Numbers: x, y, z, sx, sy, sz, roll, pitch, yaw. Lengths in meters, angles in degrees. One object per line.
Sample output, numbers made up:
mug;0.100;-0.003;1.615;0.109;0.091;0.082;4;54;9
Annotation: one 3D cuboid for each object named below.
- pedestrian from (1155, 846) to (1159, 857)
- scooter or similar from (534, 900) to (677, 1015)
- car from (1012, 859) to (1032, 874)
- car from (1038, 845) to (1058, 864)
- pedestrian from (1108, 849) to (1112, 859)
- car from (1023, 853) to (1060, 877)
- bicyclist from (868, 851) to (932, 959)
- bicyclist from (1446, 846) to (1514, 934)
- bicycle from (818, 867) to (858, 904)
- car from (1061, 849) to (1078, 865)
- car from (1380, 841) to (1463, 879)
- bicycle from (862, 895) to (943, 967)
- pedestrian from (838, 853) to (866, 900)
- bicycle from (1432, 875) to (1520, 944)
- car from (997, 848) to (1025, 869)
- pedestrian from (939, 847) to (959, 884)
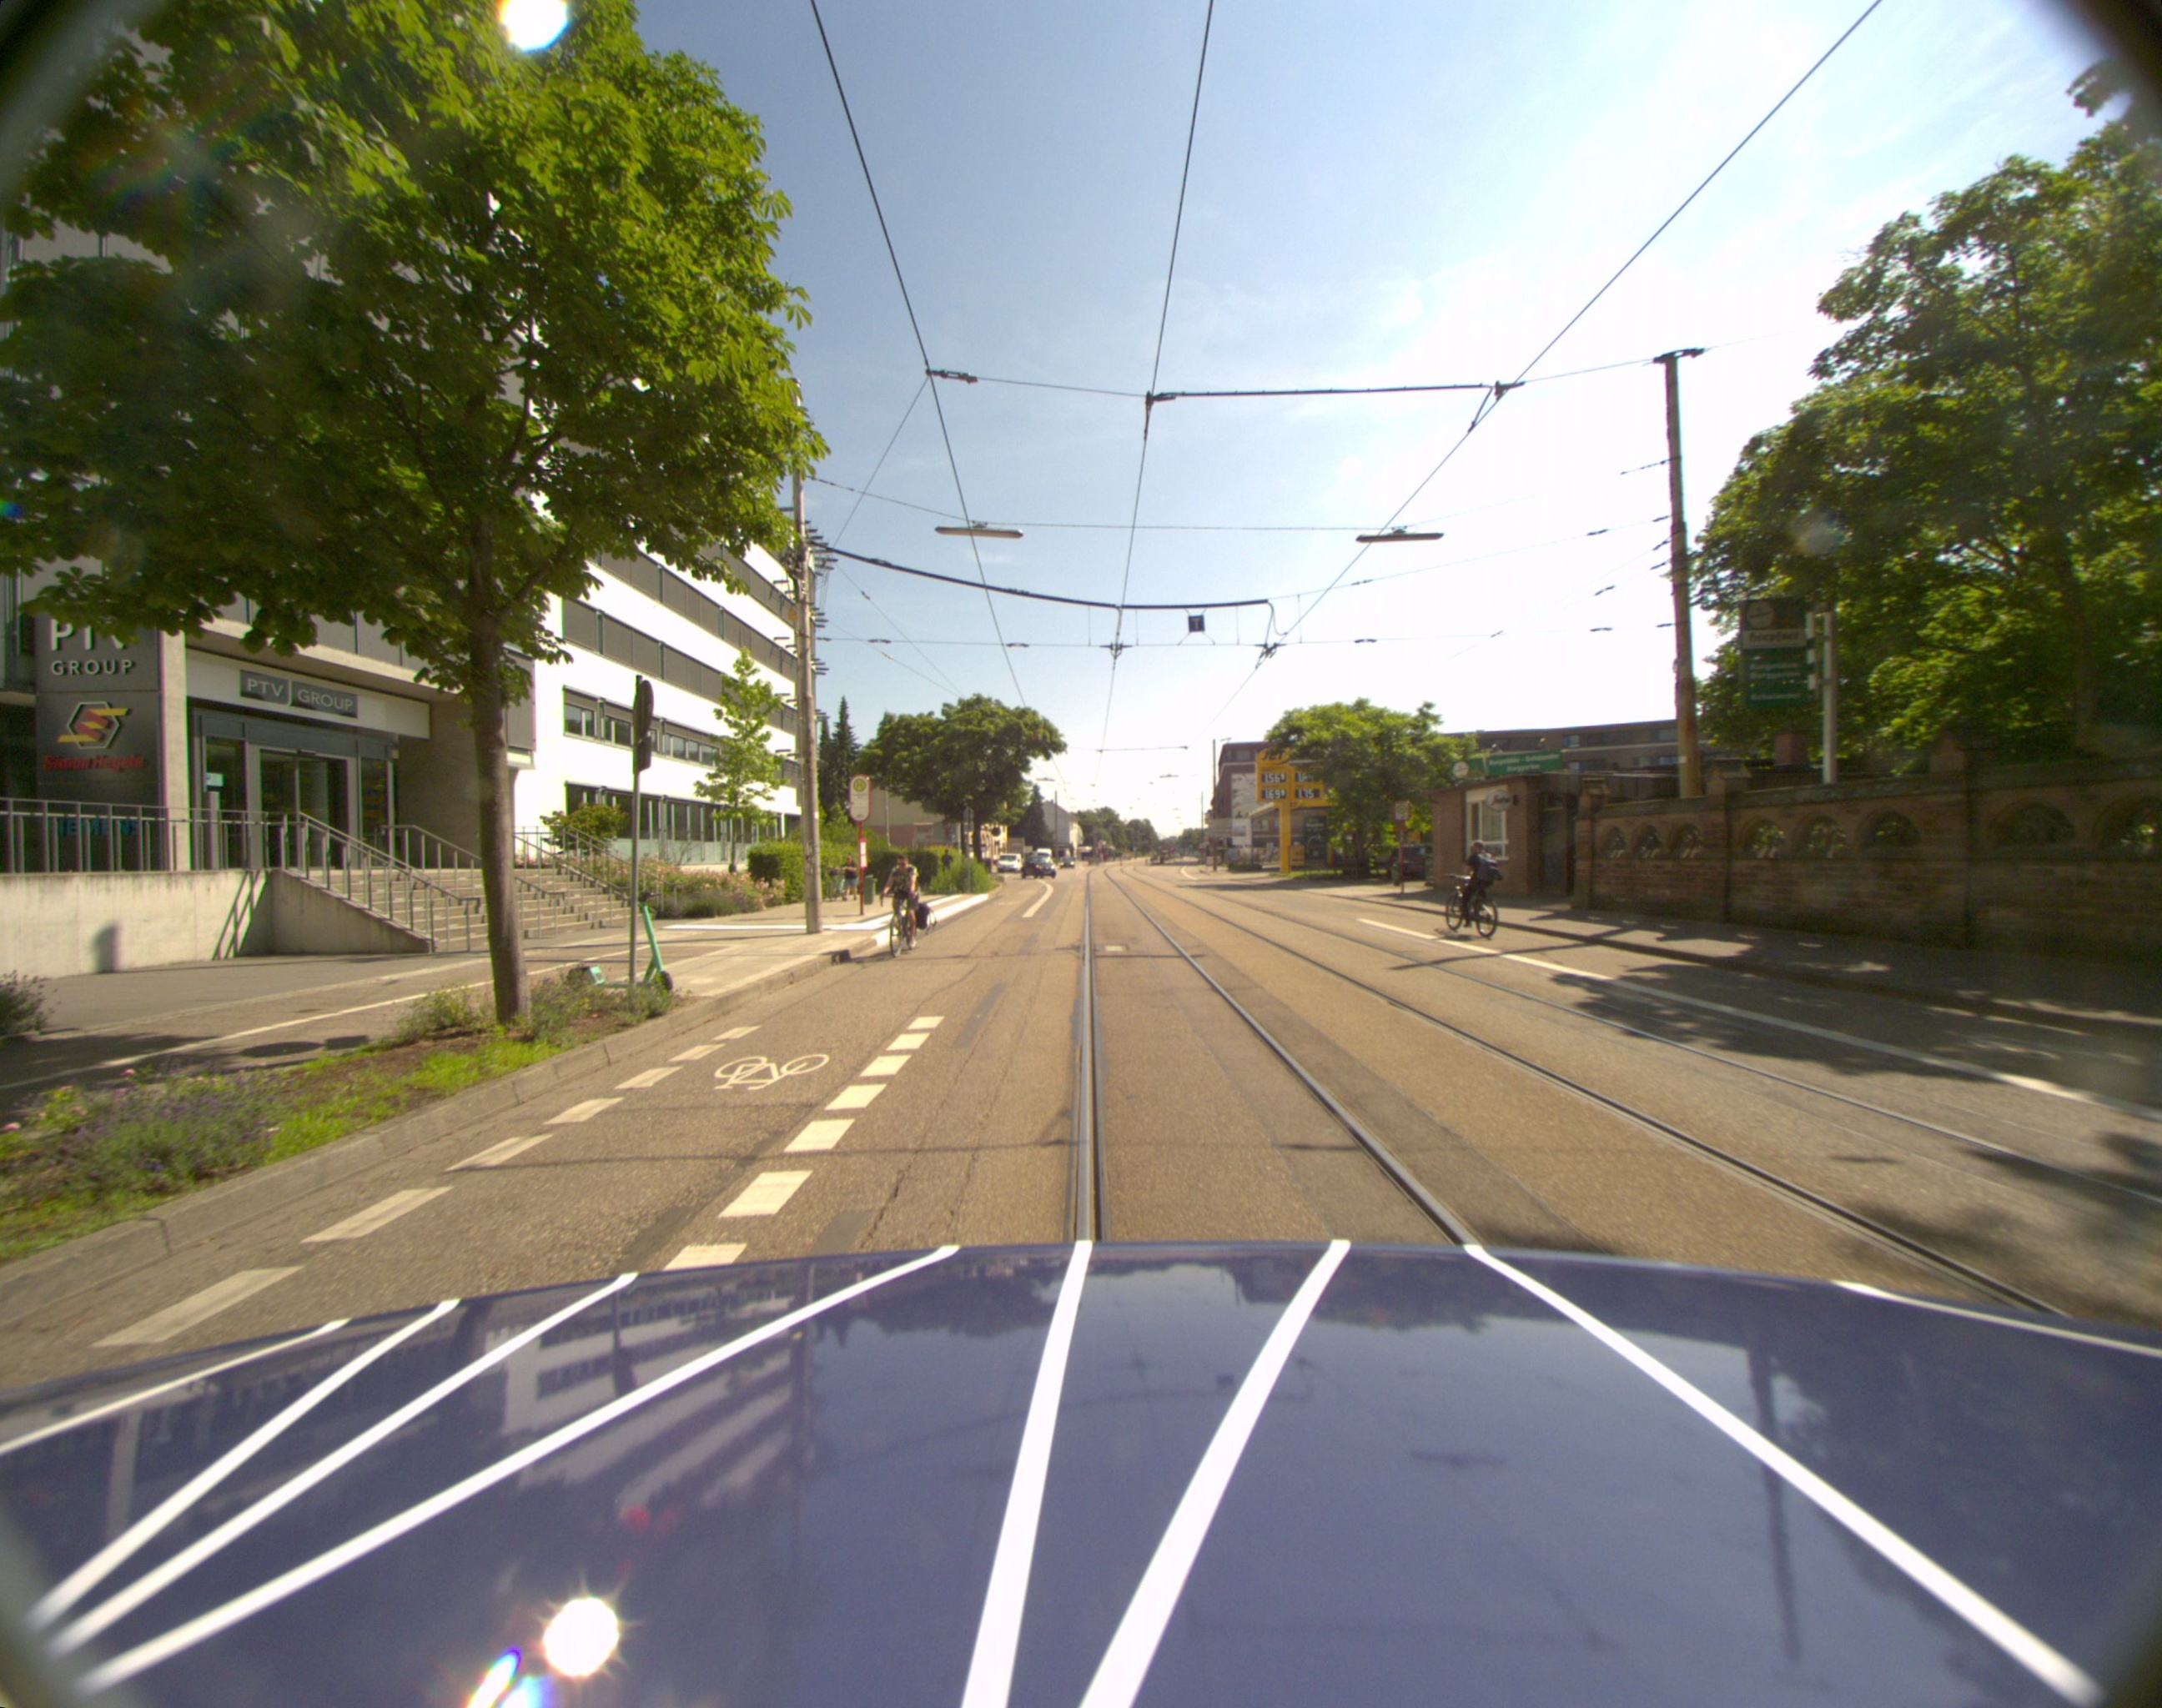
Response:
pedestrian;11.991;-0.391;119.532;0.557;1.750;0.793;-1;1;2
scooter or similar;-5.194;1.113;8.352;1.128;1.160;0.676;-1;1;3
car;-6.275;1.293;80.790;1.724;1.398;4.001;-1;0;1
car;-4.558;0.001;106.236;2.335;2.521;6.507;1;0;2
pedestrian;5.318;0.013;137.662;0.707;1.680;0.416;-1;1;0
car;-2.728;0.720;51.656;1.481;1.530;2.970;-1;1;-25
bicyclist;-3.000;0.823;12.682;0.717;1.714;0.988;-1;1;6
bicyclist;7.212;0.628;13.773;0.742;1.522;0.947;-1;1;1
bicycle;-8.090;1.019;25.369;0.637;1.111;2.067;-1;1;0
car;-1.396;0.347;93.569;1.998;2.002;4.000;-1;1;1
car;15.999;0.252;35.580;2.014;1.631;4.669;-1;1;44
bicycle;-2.951;1.251;12.788;0.610;0.978;2.165;-1;0;6
pedestrian;-7.645;0.738;25.359;0.688;1.554;0.988;1;1;-4
bicycle;7.207;0.982;13.983;0.593;1.099;2.054;-1;0;1
car;-6.830;0.396;74.511;2.089;2.002;4.909;0;0;2
pedestrian;-6.723;0.580;38.623;0.892;1.807;1.073;-1;1;-6
